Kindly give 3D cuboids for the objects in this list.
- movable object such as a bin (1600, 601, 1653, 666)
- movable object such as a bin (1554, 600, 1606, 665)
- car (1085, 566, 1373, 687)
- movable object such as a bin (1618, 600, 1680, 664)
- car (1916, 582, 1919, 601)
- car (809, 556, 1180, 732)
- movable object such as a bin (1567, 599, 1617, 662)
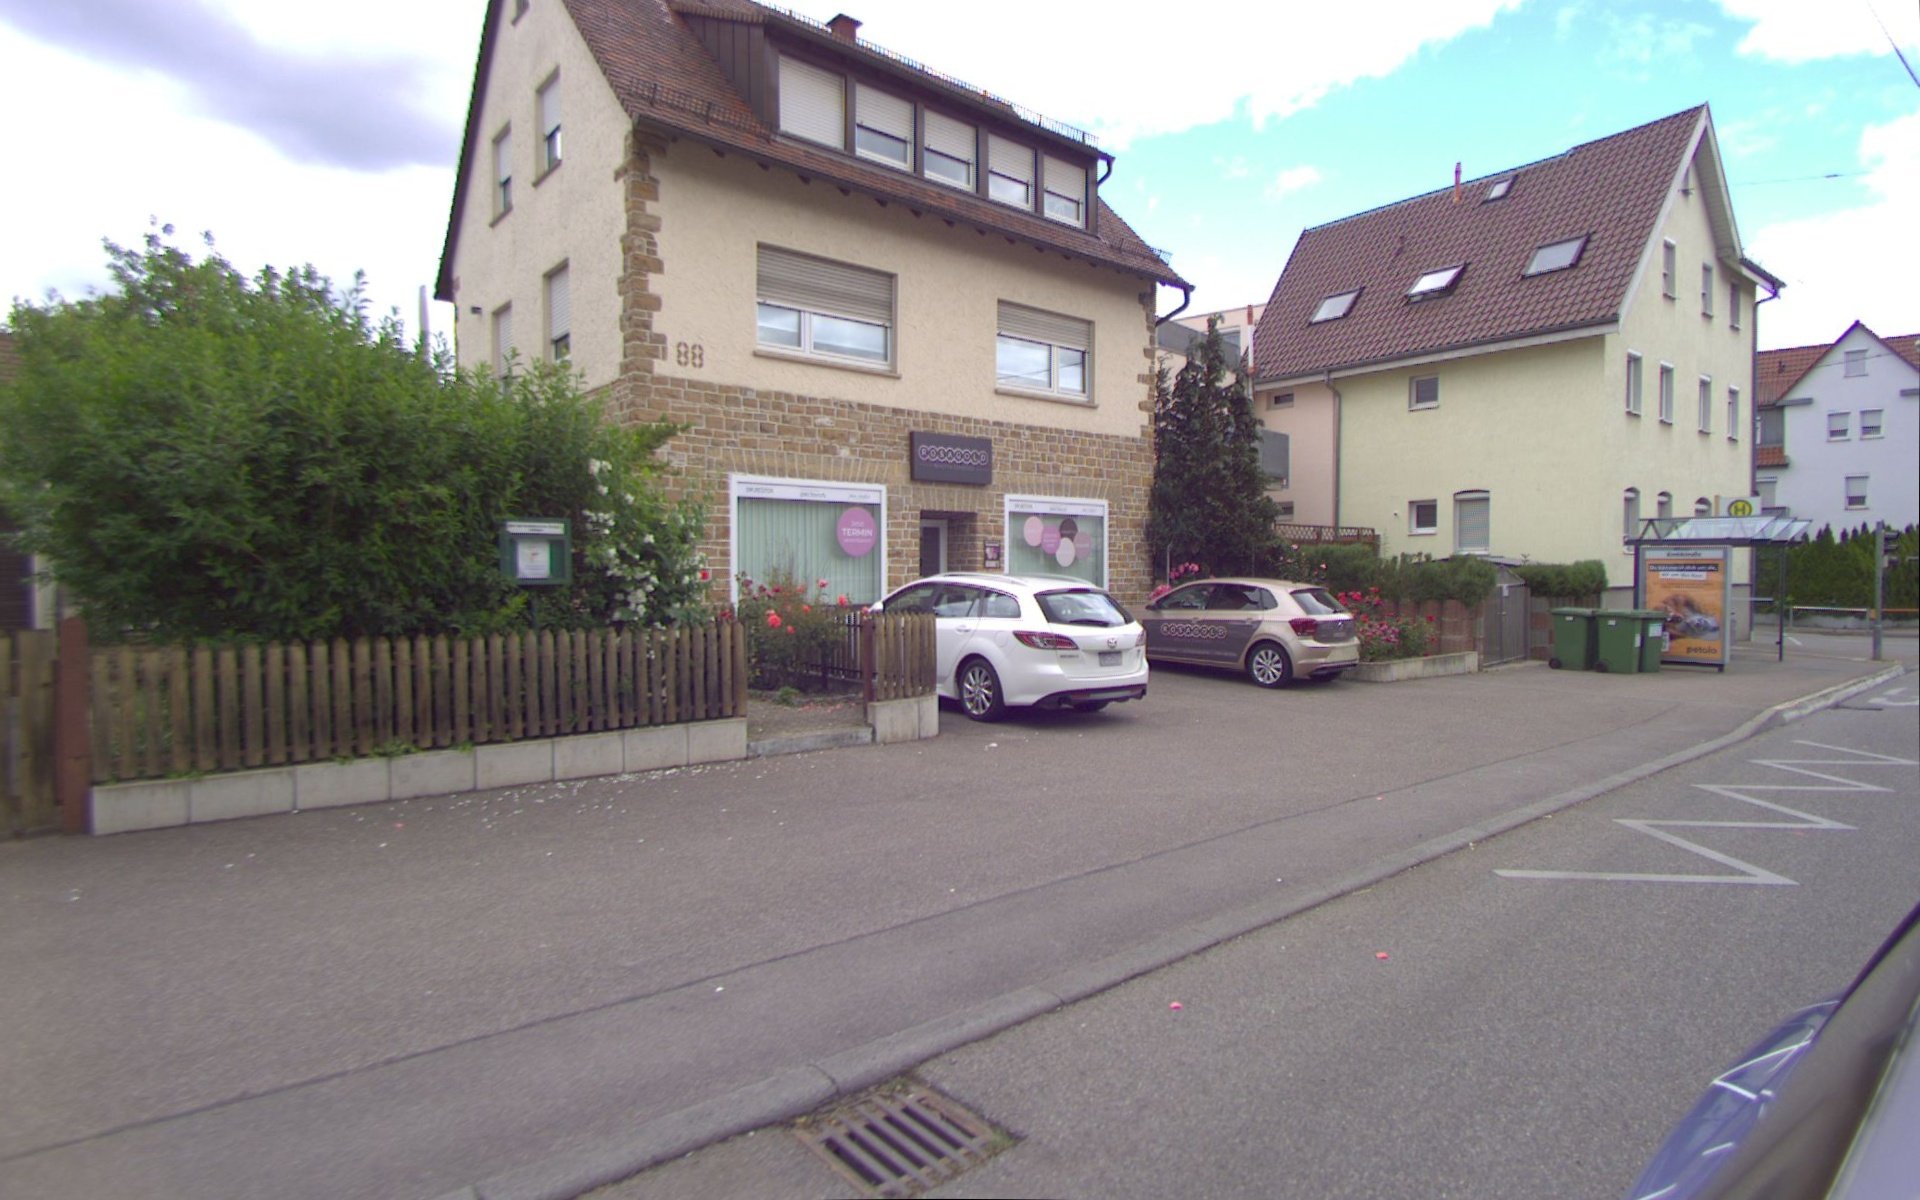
[{"bbox_3d":[11.252,0.548,17.080,0.636,1.059,0.577,0,1,45],"label":"movable object such as a bin"},{"bbox_3d":[10.771,0.550,17.579,0.636,1.059,0.577,2,2,45],"label":"movable object such as a bin"},{"bbox_3d":[3.813,0.267,14.845,1.613,1.418,3.810,-2,4,-42],"label":"car"},{"bbox_3d":[11.875,0.544,17.457,0.579,1.059,0.639,-1,1,-13],"label":"movable object such as a bin"},{"bbox_3d":[82.703,-0.751,86.025,1.839,1.538,3.942,0,1,40],"label":"car"},{"bbox_3d":[0.164,0.307,11.546,1.831,1.506,4.434,-2,4,-38],"label":"car"},{"bbox_3d":[11.270,0.532,18.054,0.636,1.059,0.577,2,2,45],"label":"movable object such as a bin"}]
